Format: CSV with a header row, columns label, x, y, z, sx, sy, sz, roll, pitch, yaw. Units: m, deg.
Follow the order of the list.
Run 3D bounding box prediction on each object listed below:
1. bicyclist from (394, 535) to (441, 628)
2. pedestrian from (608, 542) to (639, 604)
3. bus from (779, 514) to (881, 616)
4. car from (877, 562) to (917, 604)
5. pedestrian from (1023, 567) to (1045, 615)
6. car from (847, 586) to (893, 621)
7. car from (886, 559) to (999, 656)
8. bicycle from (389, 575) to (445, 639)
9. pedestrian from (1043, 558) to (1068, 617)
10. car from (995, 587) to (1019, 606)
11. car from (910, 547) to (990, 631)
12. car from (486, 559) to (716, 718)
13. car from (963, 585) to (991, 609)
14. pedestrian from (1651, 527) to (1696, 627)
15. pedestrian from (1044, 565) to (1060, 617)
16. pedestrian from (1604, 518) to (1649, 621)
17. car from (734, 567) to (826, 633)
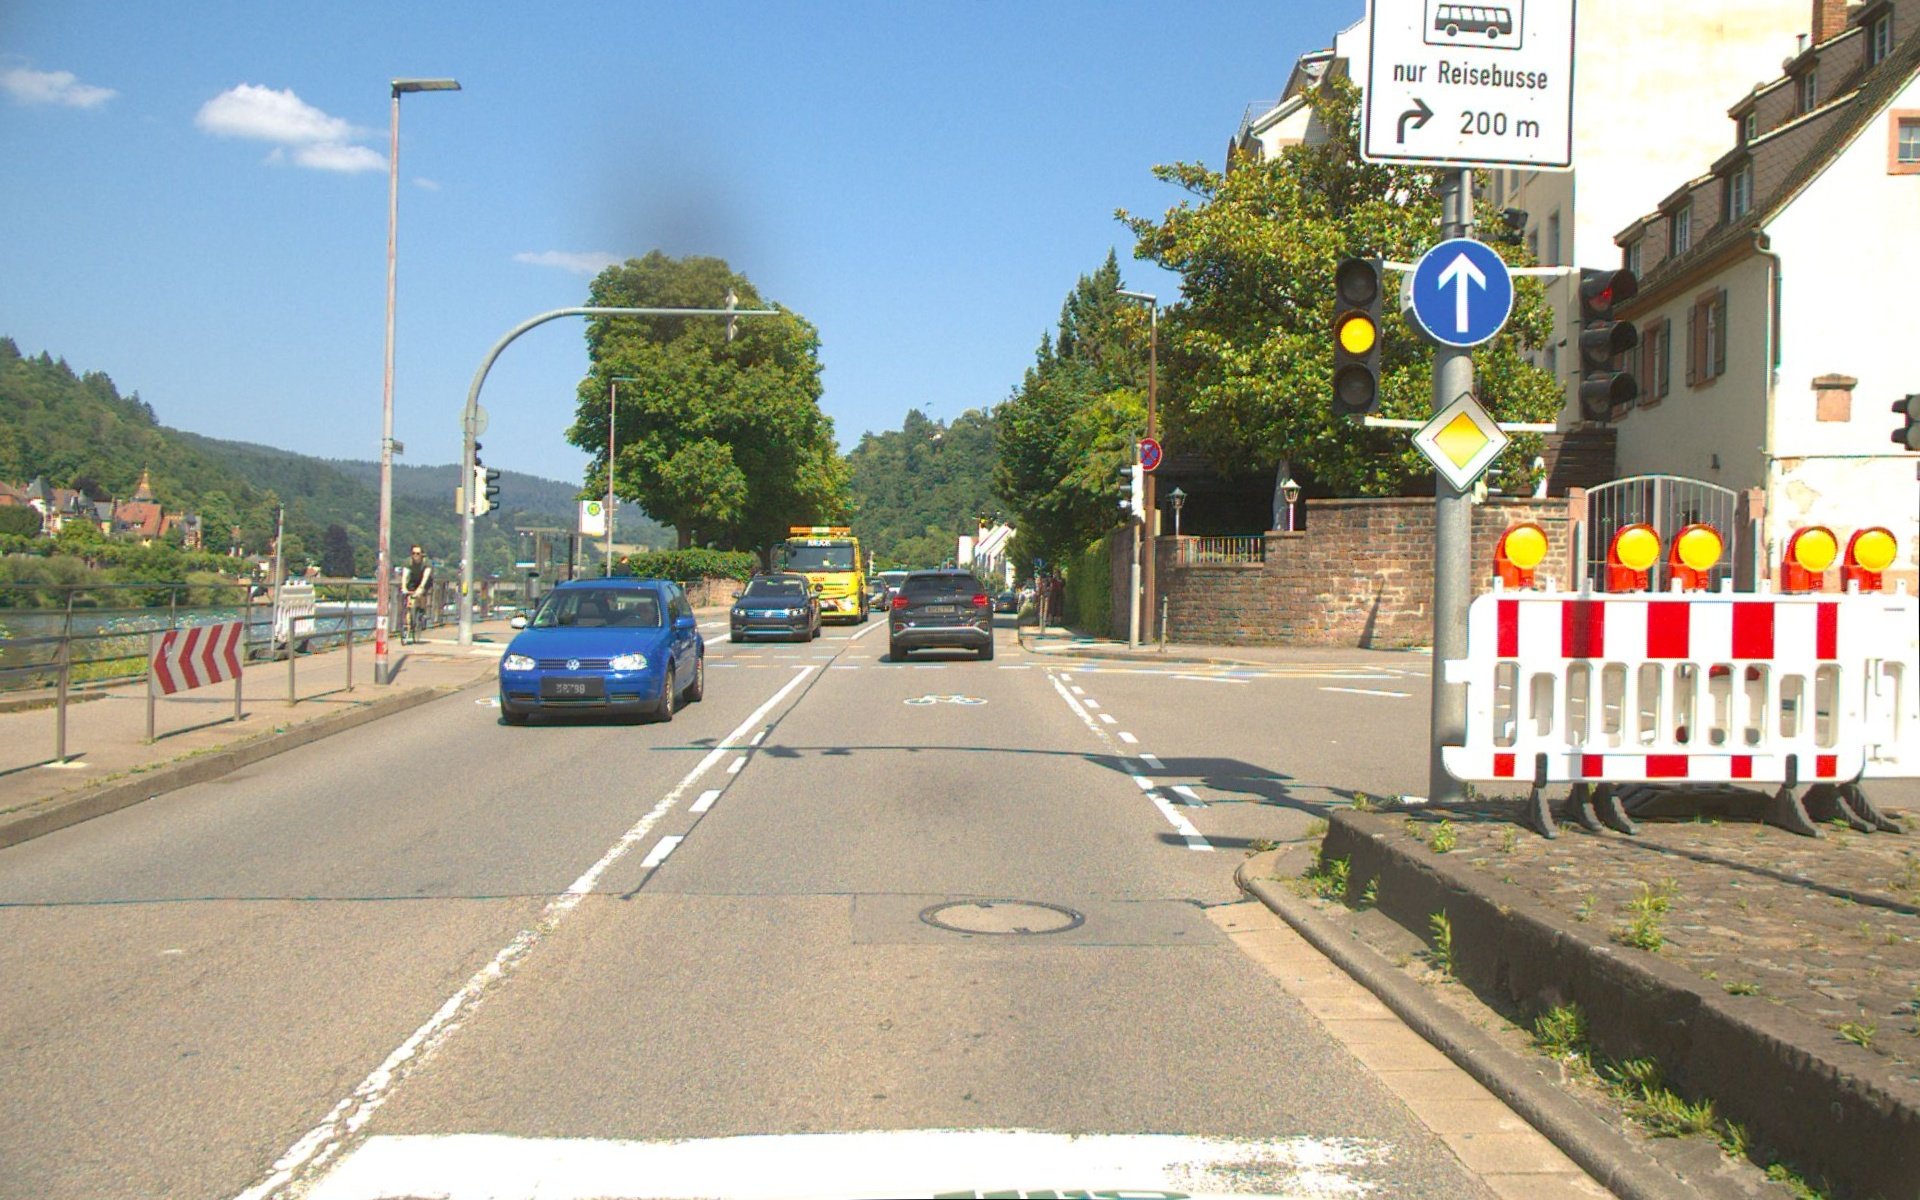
label,x,y,z,sx,sy,sz,roll,pitch,yaw
bicyclist,-9.882,-0.339,30.145,0.654,1.660,0.977,0,0,-10
pedestrian,-10.887,-0.873,53.527,0.737,1.951,1.009,0,-1,1
bus,-3.970,-1.095,52.052,2.544,2.947,8.447,0,1,0
car,-3.579,-1.009,95.115,2.053,2.342,5.869,0,1,0
pedestrian,2.648,-0.327,58.938,0.713,1.678,0.882,-2,0,2
car,-3.925,0.120,72.775,1.778,1.422,4.347,0,1,0
car,-0.364,0.109,28.744,1.820,1.550,3.998,-1,0,-2
bicycle,-9.892,0.113,30.195,0.654,1.132,2.030,0,1,-9
pedestrian,2.912,-0.390,50.485,0.667,1.772,0.913,1,1,0
car,3.937,-0.272,138.654,1.952,1.478,4.009,0,-1,1
car,-0.268,-0.260,42.538,1.953,2.049,3.999,0,-1,-1
car,-3.759,0.340,18.028,1.694,1.517,4.324,0,1,-2
car,1.108,-0.213,108.580,1.758,1.507,4.001,2,1,1
pedestrian,12.598,-0.408,29.198,0.692,1.735,0.724,0,1,27
pedestrian,2.892,-0.295,52.037,0.446,1.634,0.579,0,0,1
pedestrian,11.464,-0.524,28.463,0.708,1.735,0.708,0,0,22
car,-4.111,-0.049,38.338,1.772,1.430,4.355,0,1,-2
